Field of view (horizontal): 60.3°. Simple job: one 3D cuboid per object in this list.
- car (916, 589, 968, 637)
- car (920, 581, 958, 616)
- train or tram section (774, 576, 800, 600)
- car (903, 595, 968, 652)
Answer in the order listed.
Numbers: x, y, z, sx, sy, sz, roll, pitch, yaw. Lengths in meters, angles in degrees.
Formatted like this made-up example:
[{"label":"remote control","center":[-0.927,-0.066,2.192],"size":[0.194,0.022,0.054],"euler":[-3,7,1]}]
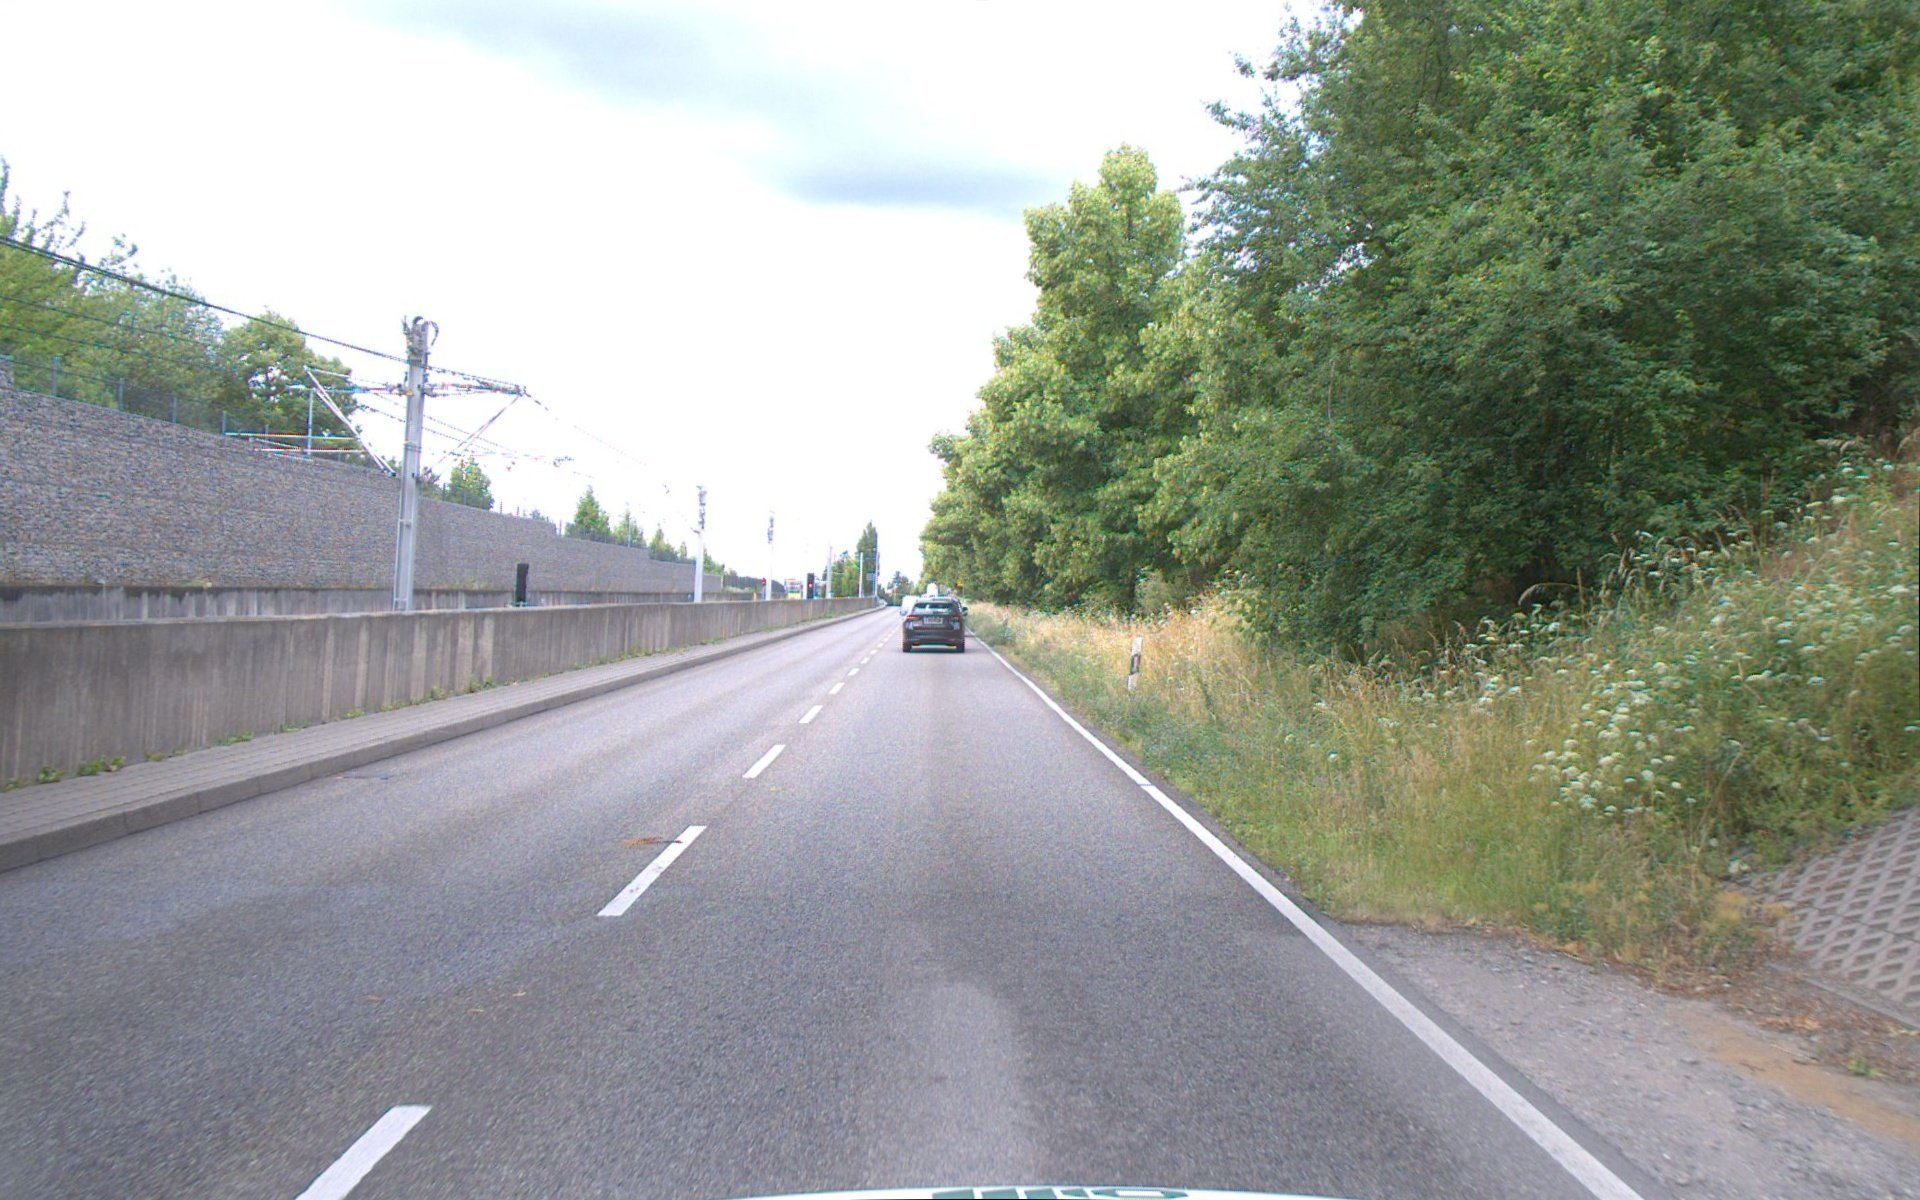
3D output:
[{"label":"car","center":[-0.711,0.484,65.055],"size":[1.953,1.783,3.999],"euler":[1,0,-1]},{"label":"car","center":[-1.103,-0.063,86.857],"size":[1.953,1.771,3.999],"euler":[1,-1,-1]},{"label":"train or tram section","center":[-26.179,-1.711,249.106],"size":[2.760,3.172,18.871],"euler":[1,-1,-9]},{"label":"car","center":[-0.691,0.632,46.554],"size":[1.745,1.493,3.999],"euler":[1,0,-1]}]
